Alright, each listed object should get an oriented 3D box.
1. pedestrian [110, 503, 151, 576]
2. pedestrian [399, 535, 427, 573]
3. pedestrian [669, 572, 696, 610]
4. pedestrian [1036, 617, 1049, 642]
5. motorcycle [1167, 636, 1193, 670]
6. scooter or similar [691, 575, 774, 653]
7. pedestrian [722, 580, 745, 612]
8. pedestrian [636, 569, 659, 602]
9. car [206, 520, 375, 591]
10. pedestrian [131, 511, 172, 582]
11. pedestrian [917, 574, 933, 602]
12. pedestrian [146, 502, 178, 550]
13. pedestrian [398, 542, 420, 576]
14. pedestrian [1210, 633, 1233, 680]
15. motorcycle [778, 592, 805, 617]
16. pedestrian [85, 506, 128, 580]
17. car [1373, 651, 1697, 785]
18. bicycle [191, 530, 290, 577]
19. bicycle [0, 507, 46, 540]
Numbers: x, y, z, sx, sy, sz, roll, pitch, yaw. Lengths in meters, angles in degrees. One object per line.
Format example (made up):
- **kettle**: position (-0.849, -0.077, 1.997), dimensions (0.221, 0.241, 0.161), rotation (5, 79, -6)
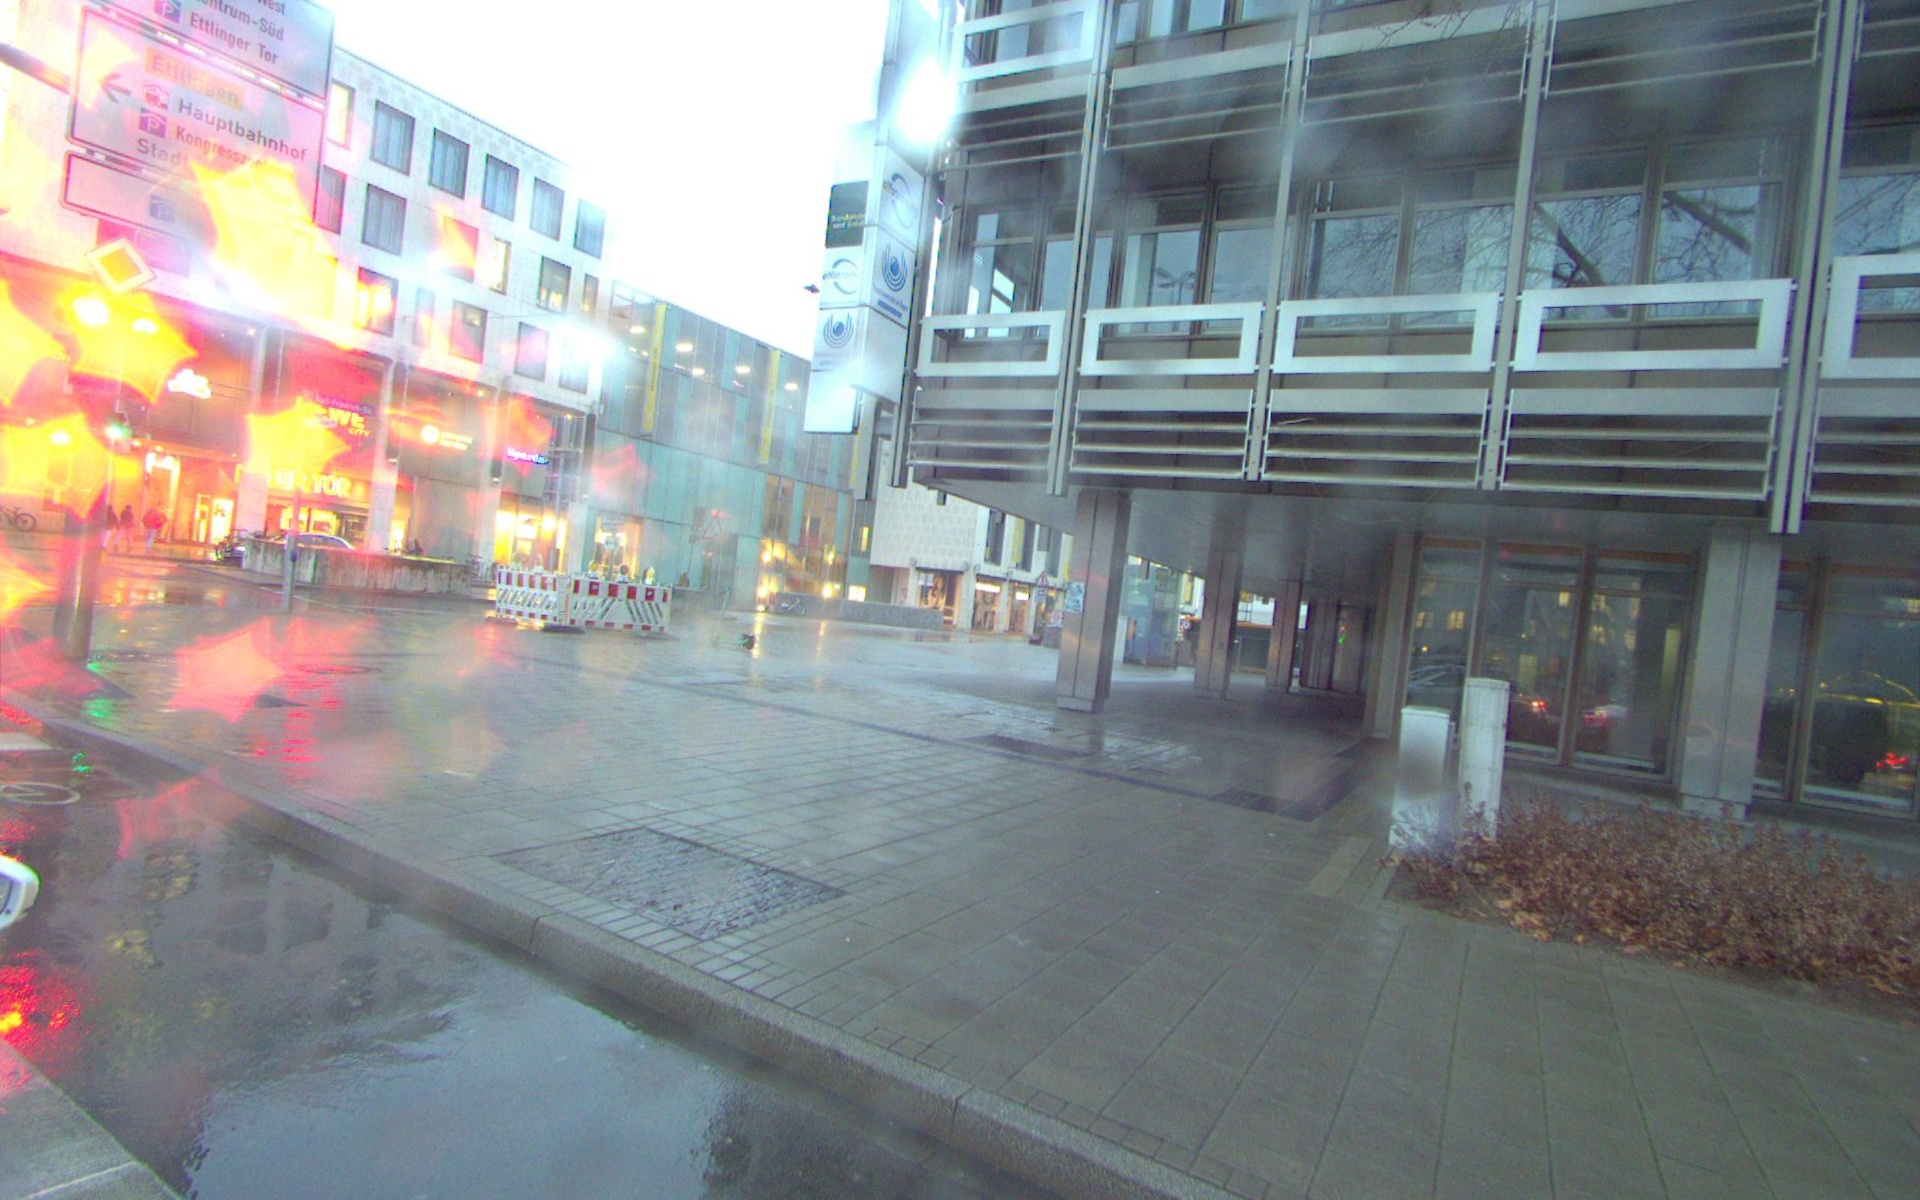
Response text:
- **pedestrian**: position (-29.764, -2.168, 36.099), dimensions (0.745, 2.469, 0.691), rotation (7, -1, 31)
- **pedestrian**: position (-26.508, -2.211, 48.766), dimensions (0.519, 1.705, 0.894), rotation (6, 0, 31)
- **pedestrian**: position (-13.130, -0.420, 47.665), dimensions (0.770, 1.703, 0.742), rotation (6, -1, 38)
- **pedestrian**: position (5.894, 2.084, 71.979), dimensions (0.573, 1.703, 0.542), rotation (6, -1, 38)
- **motorcycle**: position (9.682, 2.337, 44.214), dimensions (0.584, 1.368, 1.493), rotation (7, -1, 29)
- **scooter or similar**: position (-4.563, 0.279, 20.160), dimensions (1.470, 1.368, 0.593), rotation (7, -1, 32)
- **pedestrian**: position (-13.055, -0.230, 57.974), dimensions (0.770, 1.703, 0.742), rotation (6, -1, 38)
- **pedestrian**: position (-17.581, -0.819, 56.525), dimensions (0.770, 1.703, 0.742), rotation (6, -1, 38)
- **car**: position (-21.652, -1.399, 32.679), dimensions (1.968, 1.636, 3.994), rotation (6, -2, 33)
- **pedestrian**: position (-29.726, -1.980, 36.997), dimensions (0.778, 2.477, 0.694), rotation (7, -1, 32)
- **pedestrian**: position (-2.234, -0.774, 64.058), dimensions (0.573, 1.703, 0.542), rotation (6, -1, 38)
- **pedestrian**: position (-36.099, -3.327, 45.512), dimensions (0.688, 2.038, 0.845), rotation (7, 1, 40)
- **pedestrian**: position (-25.787, -1.922, 47.104), dimensions (0.511, 1.512, 0.586), rotation (6, 0, 34)
- **pedestrian**: position (10.528, 2.267, 40.436), dimensions (0.678, 1.796, 0.660), rotation (7, -1, 16)
- **motorcycle**: position (-10.251, 0.282, 61.131), dimensions (0.585, 1.368, 1.491), rotation (7, -1, 36)
- **pedestrian**: position (-29.988, -1.996, 35.330), dimensions (0.745, 2.469, 0.716), rotation (7, -1, 31)
- **car**: position (8.639, 1.691, 15.333), dimensions (3.935, 1.327, 1.994), rotation (6, 1, 33)
- **bicycle**: position (-26.337, -1.681, 36.875), dimensions (0.941, 1.375, 2.718), rotation (6, -1, 28)
- **bicycle**: position (-36.373, -2.970, 38.677), dimensions (0.515, 1.082, 1.651), rotation (7, -2, 28)
